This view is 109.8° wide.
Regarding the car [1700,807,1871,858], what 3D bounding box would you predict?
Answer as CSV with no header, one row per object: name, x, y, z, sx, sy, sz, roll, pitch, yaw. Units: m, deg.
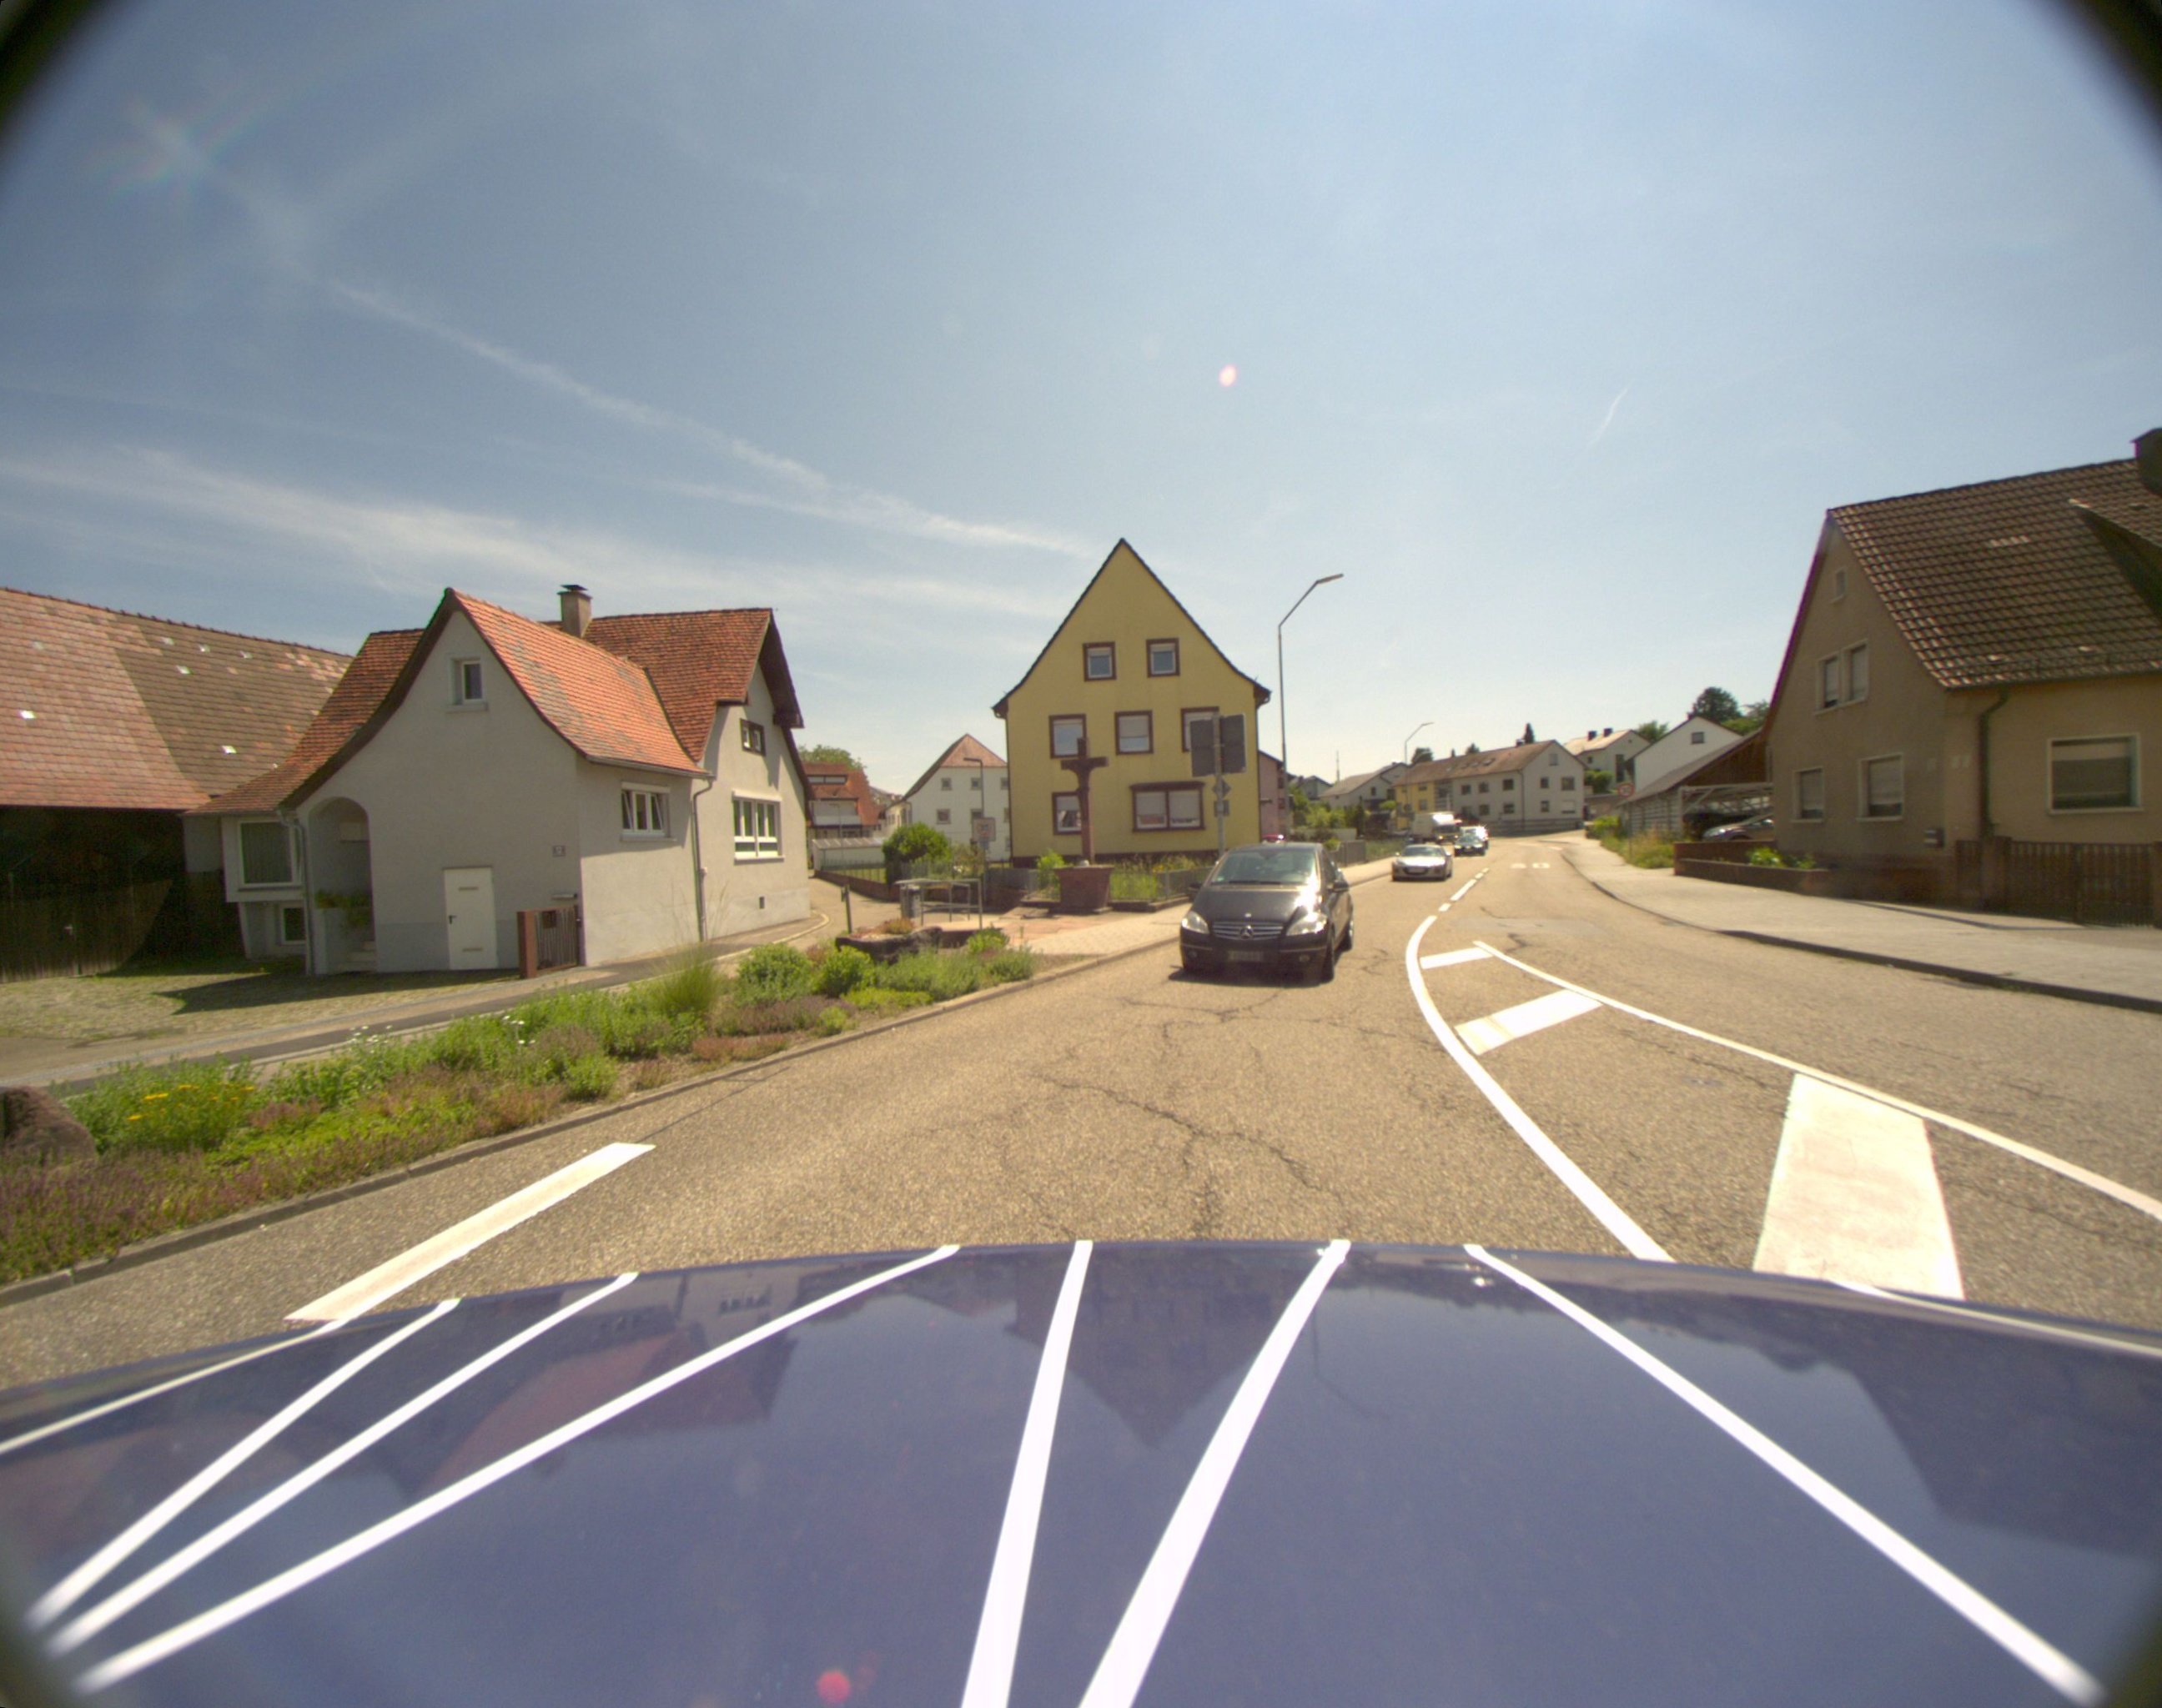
car,24.498,-0.745,26.671,4.126,1.629,1.868,0,2,32

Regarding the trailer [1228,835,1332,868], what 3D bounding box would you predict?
trailer,11.260,-0.143,43.246,5.359,1.537,2.138,-3,1,2

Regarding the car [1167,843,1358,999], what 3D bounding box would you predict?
car,2.659,0.714,10.306,1.761,1.583,4.204,-2,1,23

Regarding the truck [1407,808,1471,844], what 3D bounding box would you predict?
truck,38.853,-2.951,82.884,3.202,3.579,8.307,-3,1,3

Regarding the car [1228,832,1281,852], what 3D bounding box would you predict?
car,14.828,-1.035,65.168,4.121,1.539,1.851,-3,2,4

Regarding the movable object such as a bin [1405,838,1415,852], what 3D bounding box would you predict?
movable object such as a bin,24.604,-0.680,56.821,0.565,1.052,0.651,-2,2,15

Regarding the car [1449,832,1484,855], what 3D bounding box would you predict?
car,25.770,-0.713,50.706,1.893,1.368,4.006,-3,1,29

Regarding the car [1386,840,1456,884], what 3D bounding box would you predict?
car,12.225,0.263,27.165,1.810,1.307,4.006,-2,2,31

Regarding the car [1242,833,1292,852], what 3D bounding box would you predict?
car,15.251,-0.981,62.587,3.832,1.478,1.762,-1,2,8

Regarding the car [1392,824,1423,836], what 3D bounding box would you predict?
car,45.726,-3.296,106.508,1.736,1.543,4.183,-3,2,-12

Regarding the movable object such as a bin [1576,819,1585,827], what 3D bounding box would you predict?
movable object such as a bin,57.579,-3.535,87.509,0.600,0.929,0.600,-3,2,-15

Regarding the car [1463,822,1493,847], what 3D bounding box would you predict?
car,33.423,-1.671,64.055,1.865,1.897,5.043,-5,1,26
